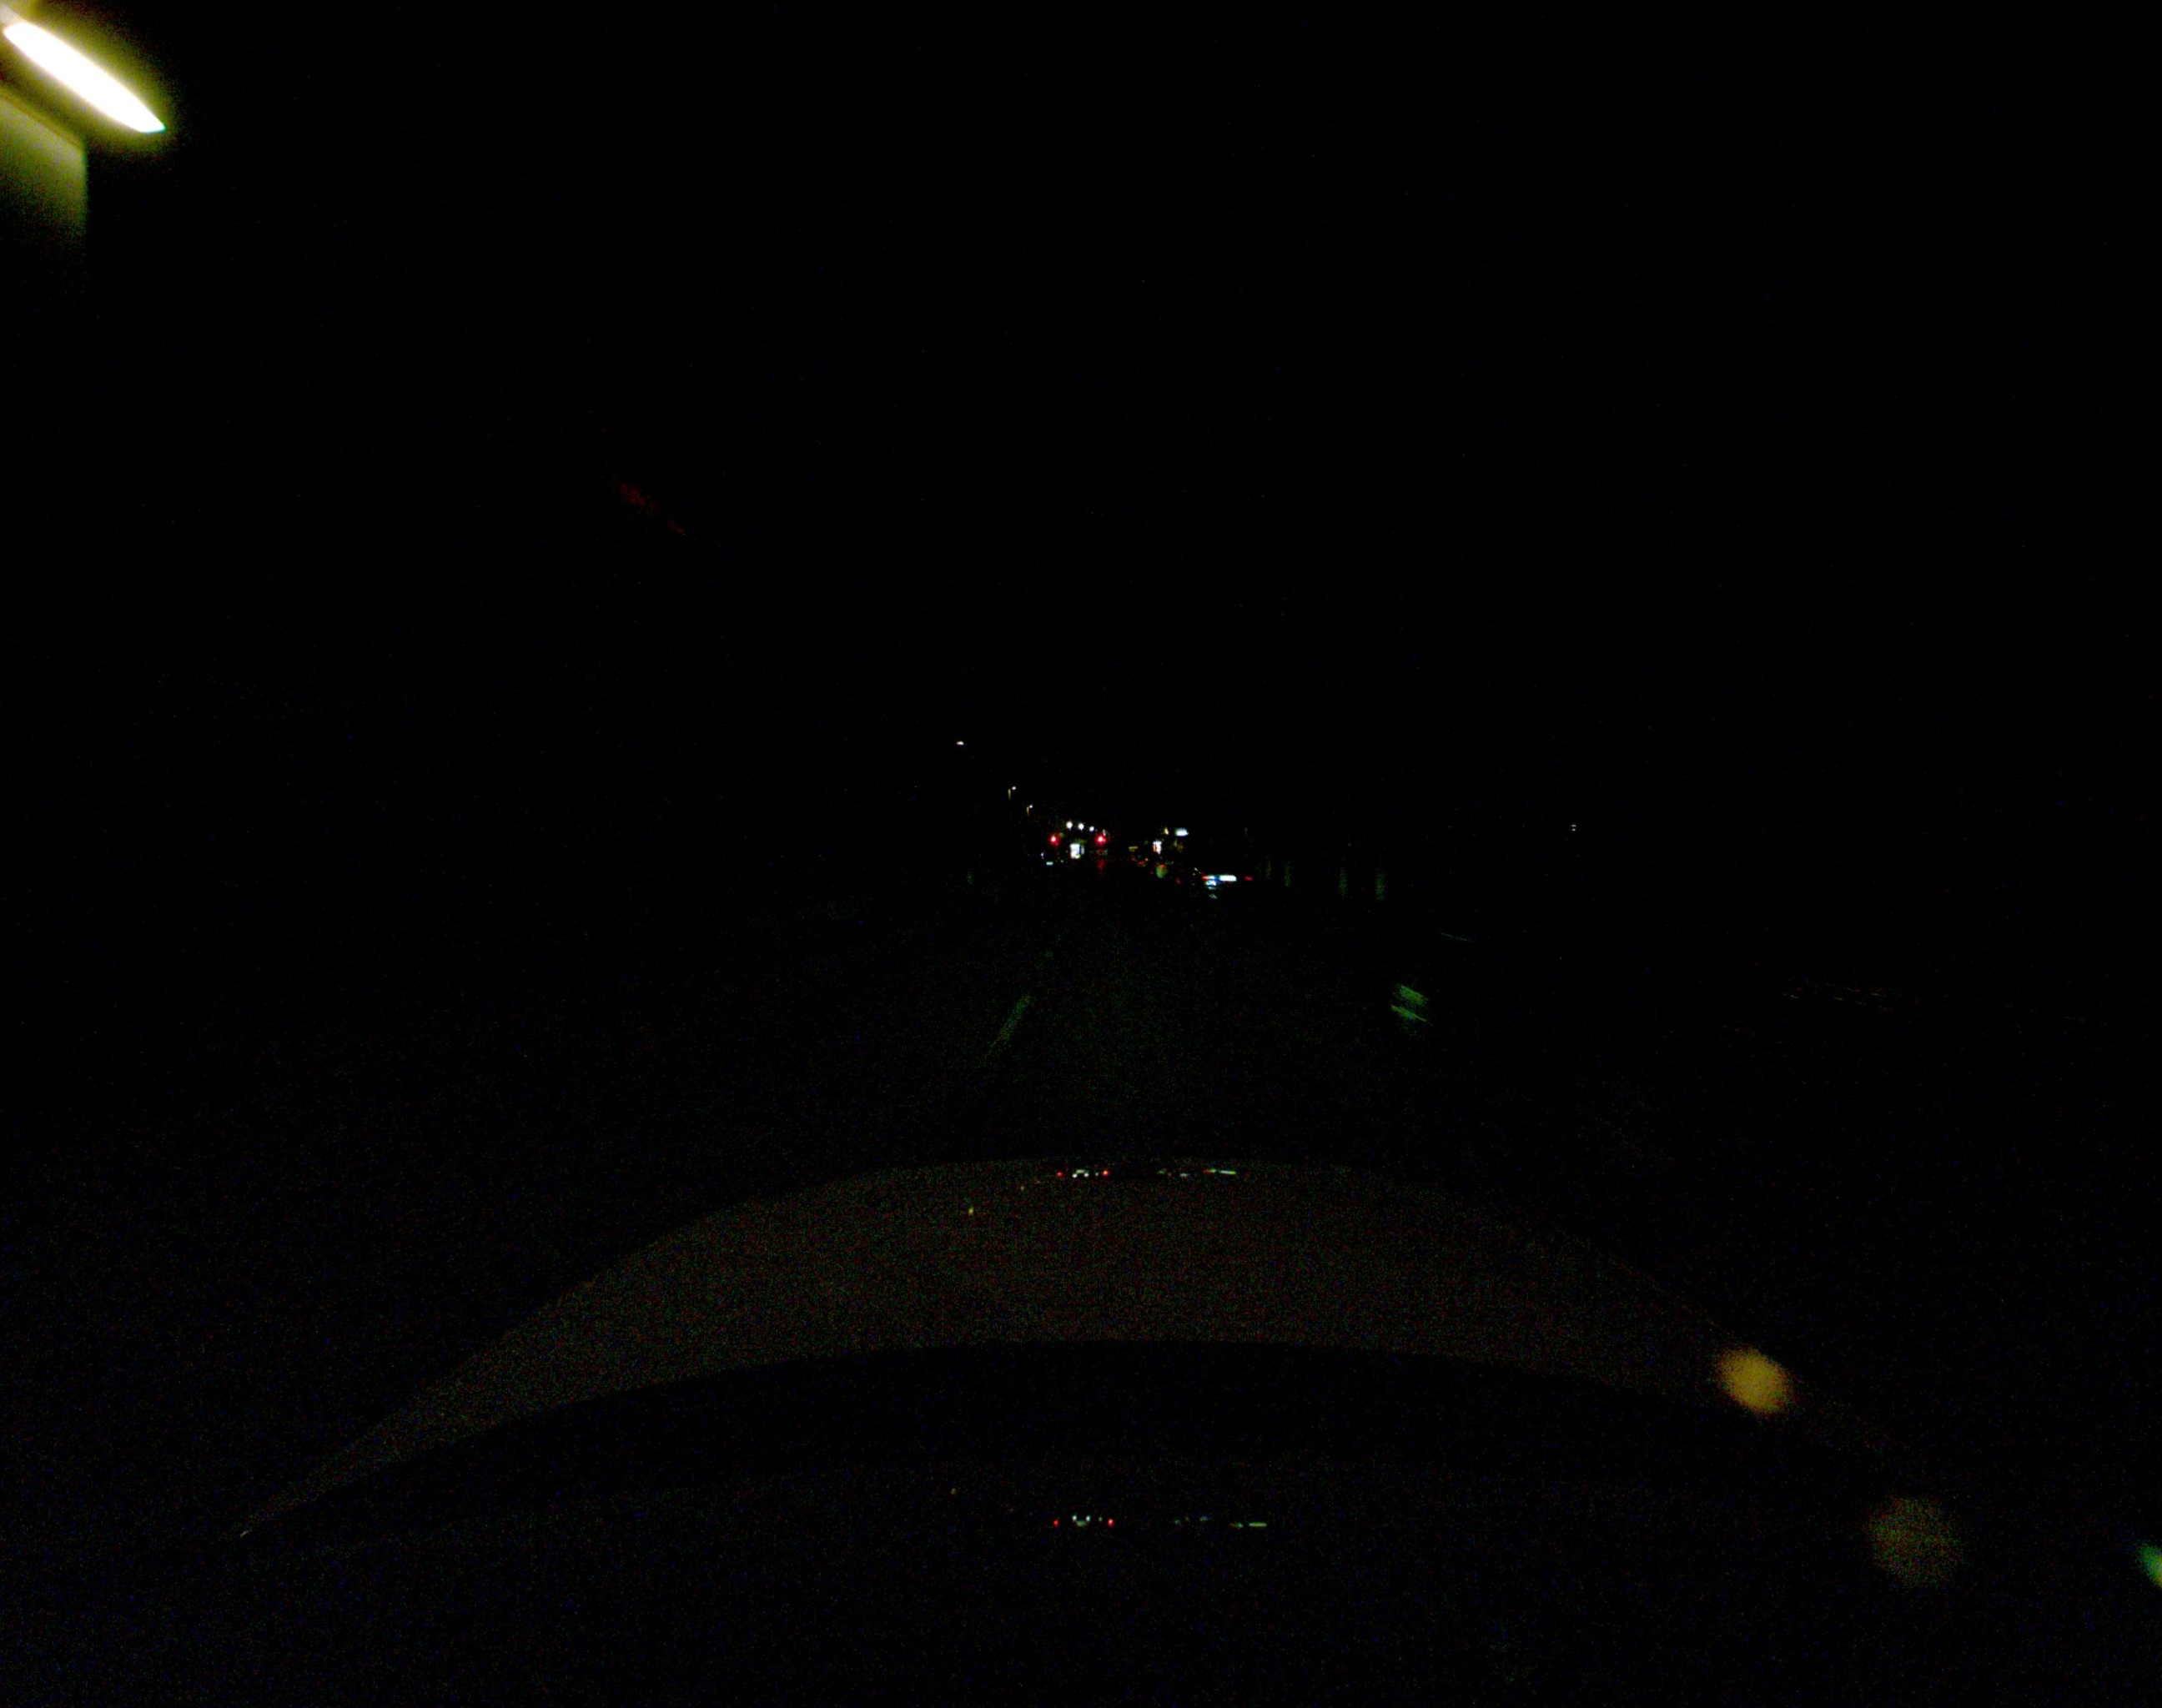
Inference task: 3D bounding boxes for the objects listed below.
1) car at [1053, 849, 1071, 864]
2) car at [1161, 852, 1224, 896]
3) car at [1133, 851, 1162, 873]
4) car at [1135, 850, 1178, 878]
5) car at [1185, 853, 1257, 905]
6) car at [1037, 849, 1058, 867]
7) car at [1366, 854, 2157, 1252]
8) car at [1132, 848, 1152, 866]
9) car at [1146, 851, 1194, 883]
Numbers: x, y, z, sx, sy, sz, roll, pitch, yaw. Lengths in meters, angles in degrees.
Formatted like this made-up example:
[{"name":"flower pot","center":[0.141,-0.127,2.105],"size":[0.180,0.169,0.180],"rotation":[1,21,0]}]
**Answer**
[{"name":"car","center":[-2.067,0.277,88.438],"size":[1.747,1.539,3.731],"rotation":[-1,0,0]},{"name":"car","center":[3.907,0.658,29.127],"size":[1.677,1.448,3.999],"rotation":[0,0,0]},{"name":"car","center":[4.520,0.497,55.558],"size":[1.677,1.448,3.999],"rotation":[0,0,0]},{"name":"car","center":[4.068,0.516,44.383],"size":[1.679,1.448,3.994],"rotation":[0,0,-5]},{"name":"car","center":[4.074,0.680,24.273],"size":[1.859,1.403,4.007],"rotation":[0,0,6]},{"name":"car","center":[-2.934,0.336,71.322],"size":[1.748,1.539,3.728],"rotation":[-1,0,-2]},{"name":"car","center":[3.209,0.741,4.963],"size":[1.624,1.439,3.864],"rotation":[-1,0,0]},{"name":"car","center":[5.673,0.270,75.956],"size":[1.675,1.539,4.003],"rotation":[-1,0,2]},{"name":"car","center":[4.282,0.595,39.732],"size":[1.679,1.448,3.995],"rotation":[0,0,-3]}]
